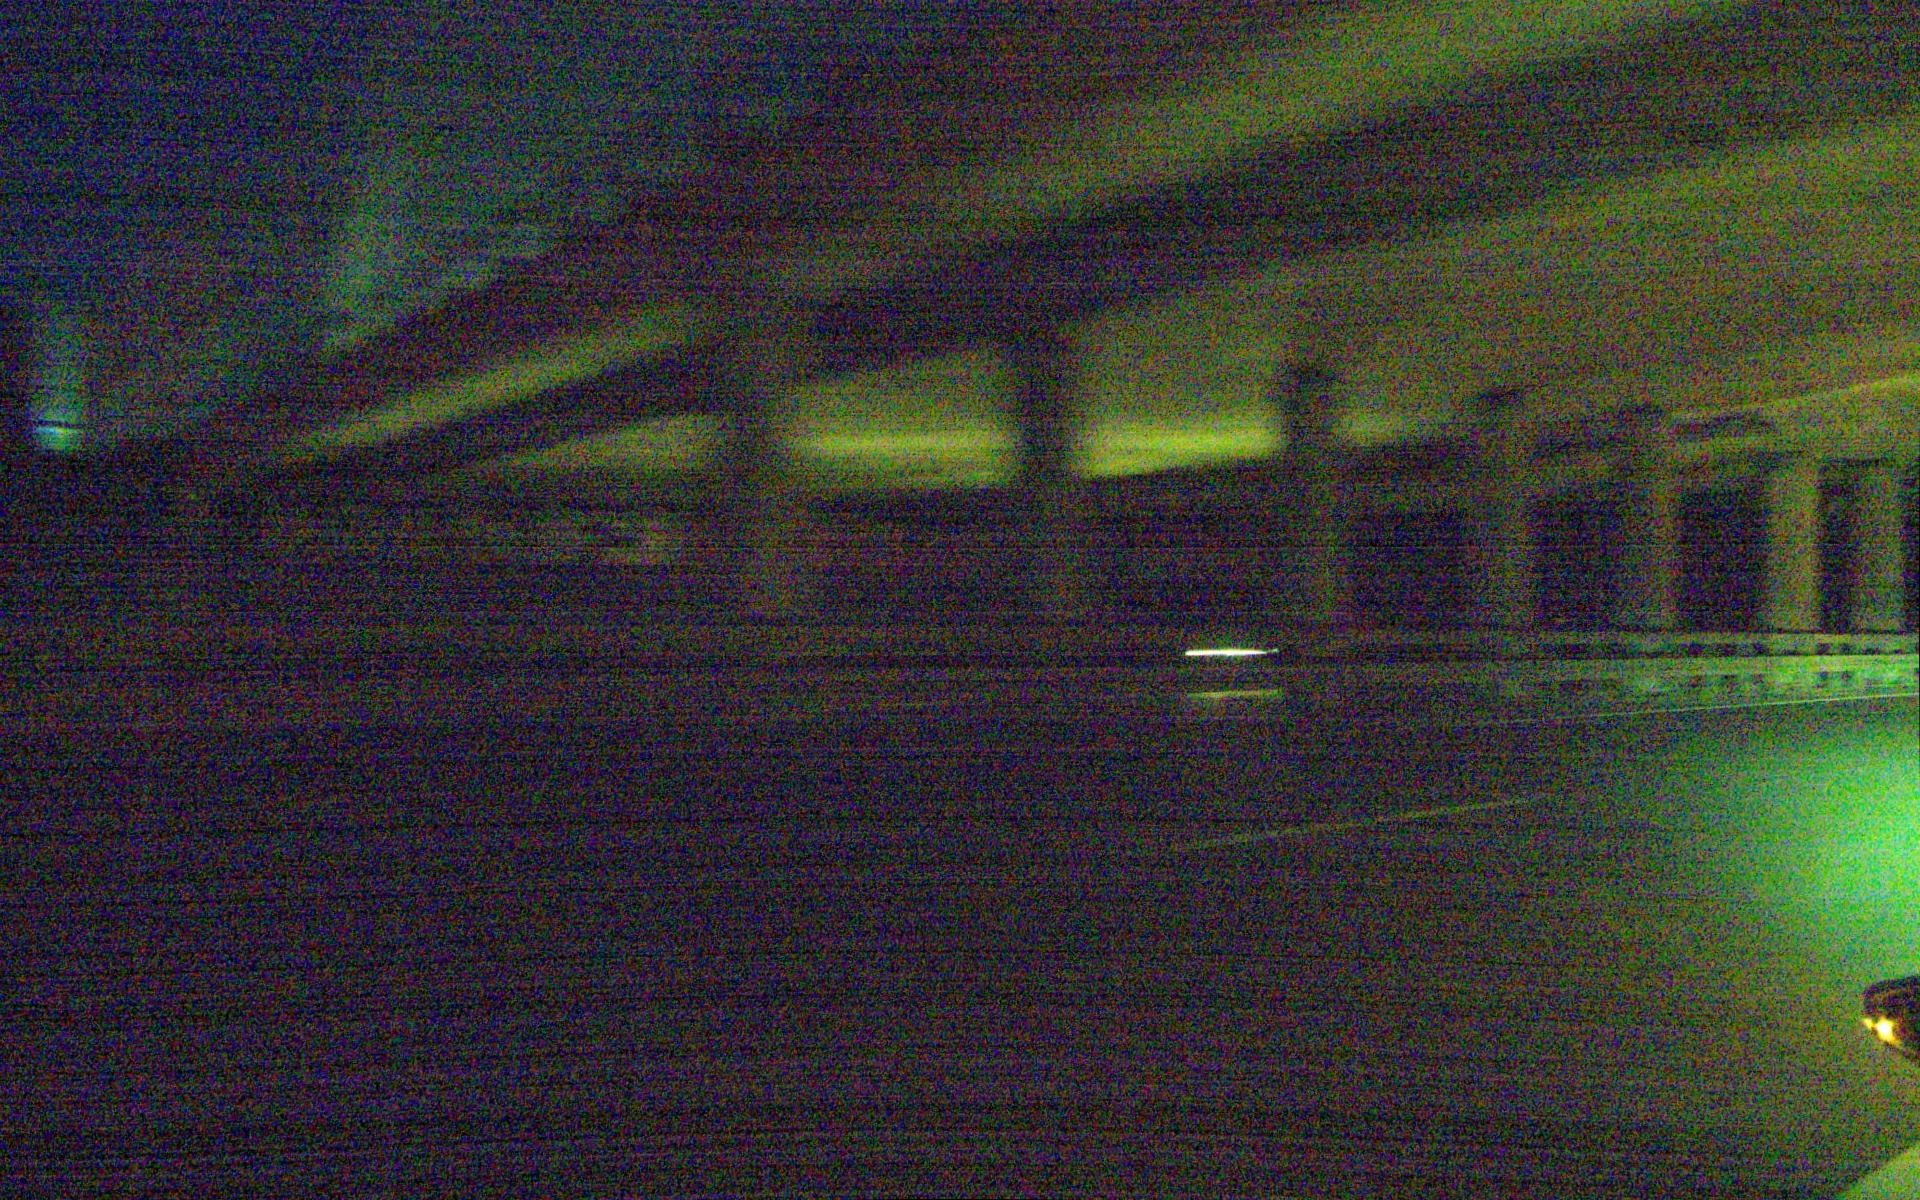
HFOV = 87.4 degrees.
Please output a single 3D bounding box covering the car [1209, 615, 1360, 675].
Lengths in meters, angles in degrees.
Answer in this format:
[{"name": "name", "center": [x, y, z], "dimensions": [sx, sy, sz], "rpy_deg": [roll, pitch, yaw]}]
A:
[{"name": "car", "center": [8.987, 1.222, 27.752], "dimensions": [3.953, 1.528, 1.817], "rpy_deg": [2, -1, -30]}]
